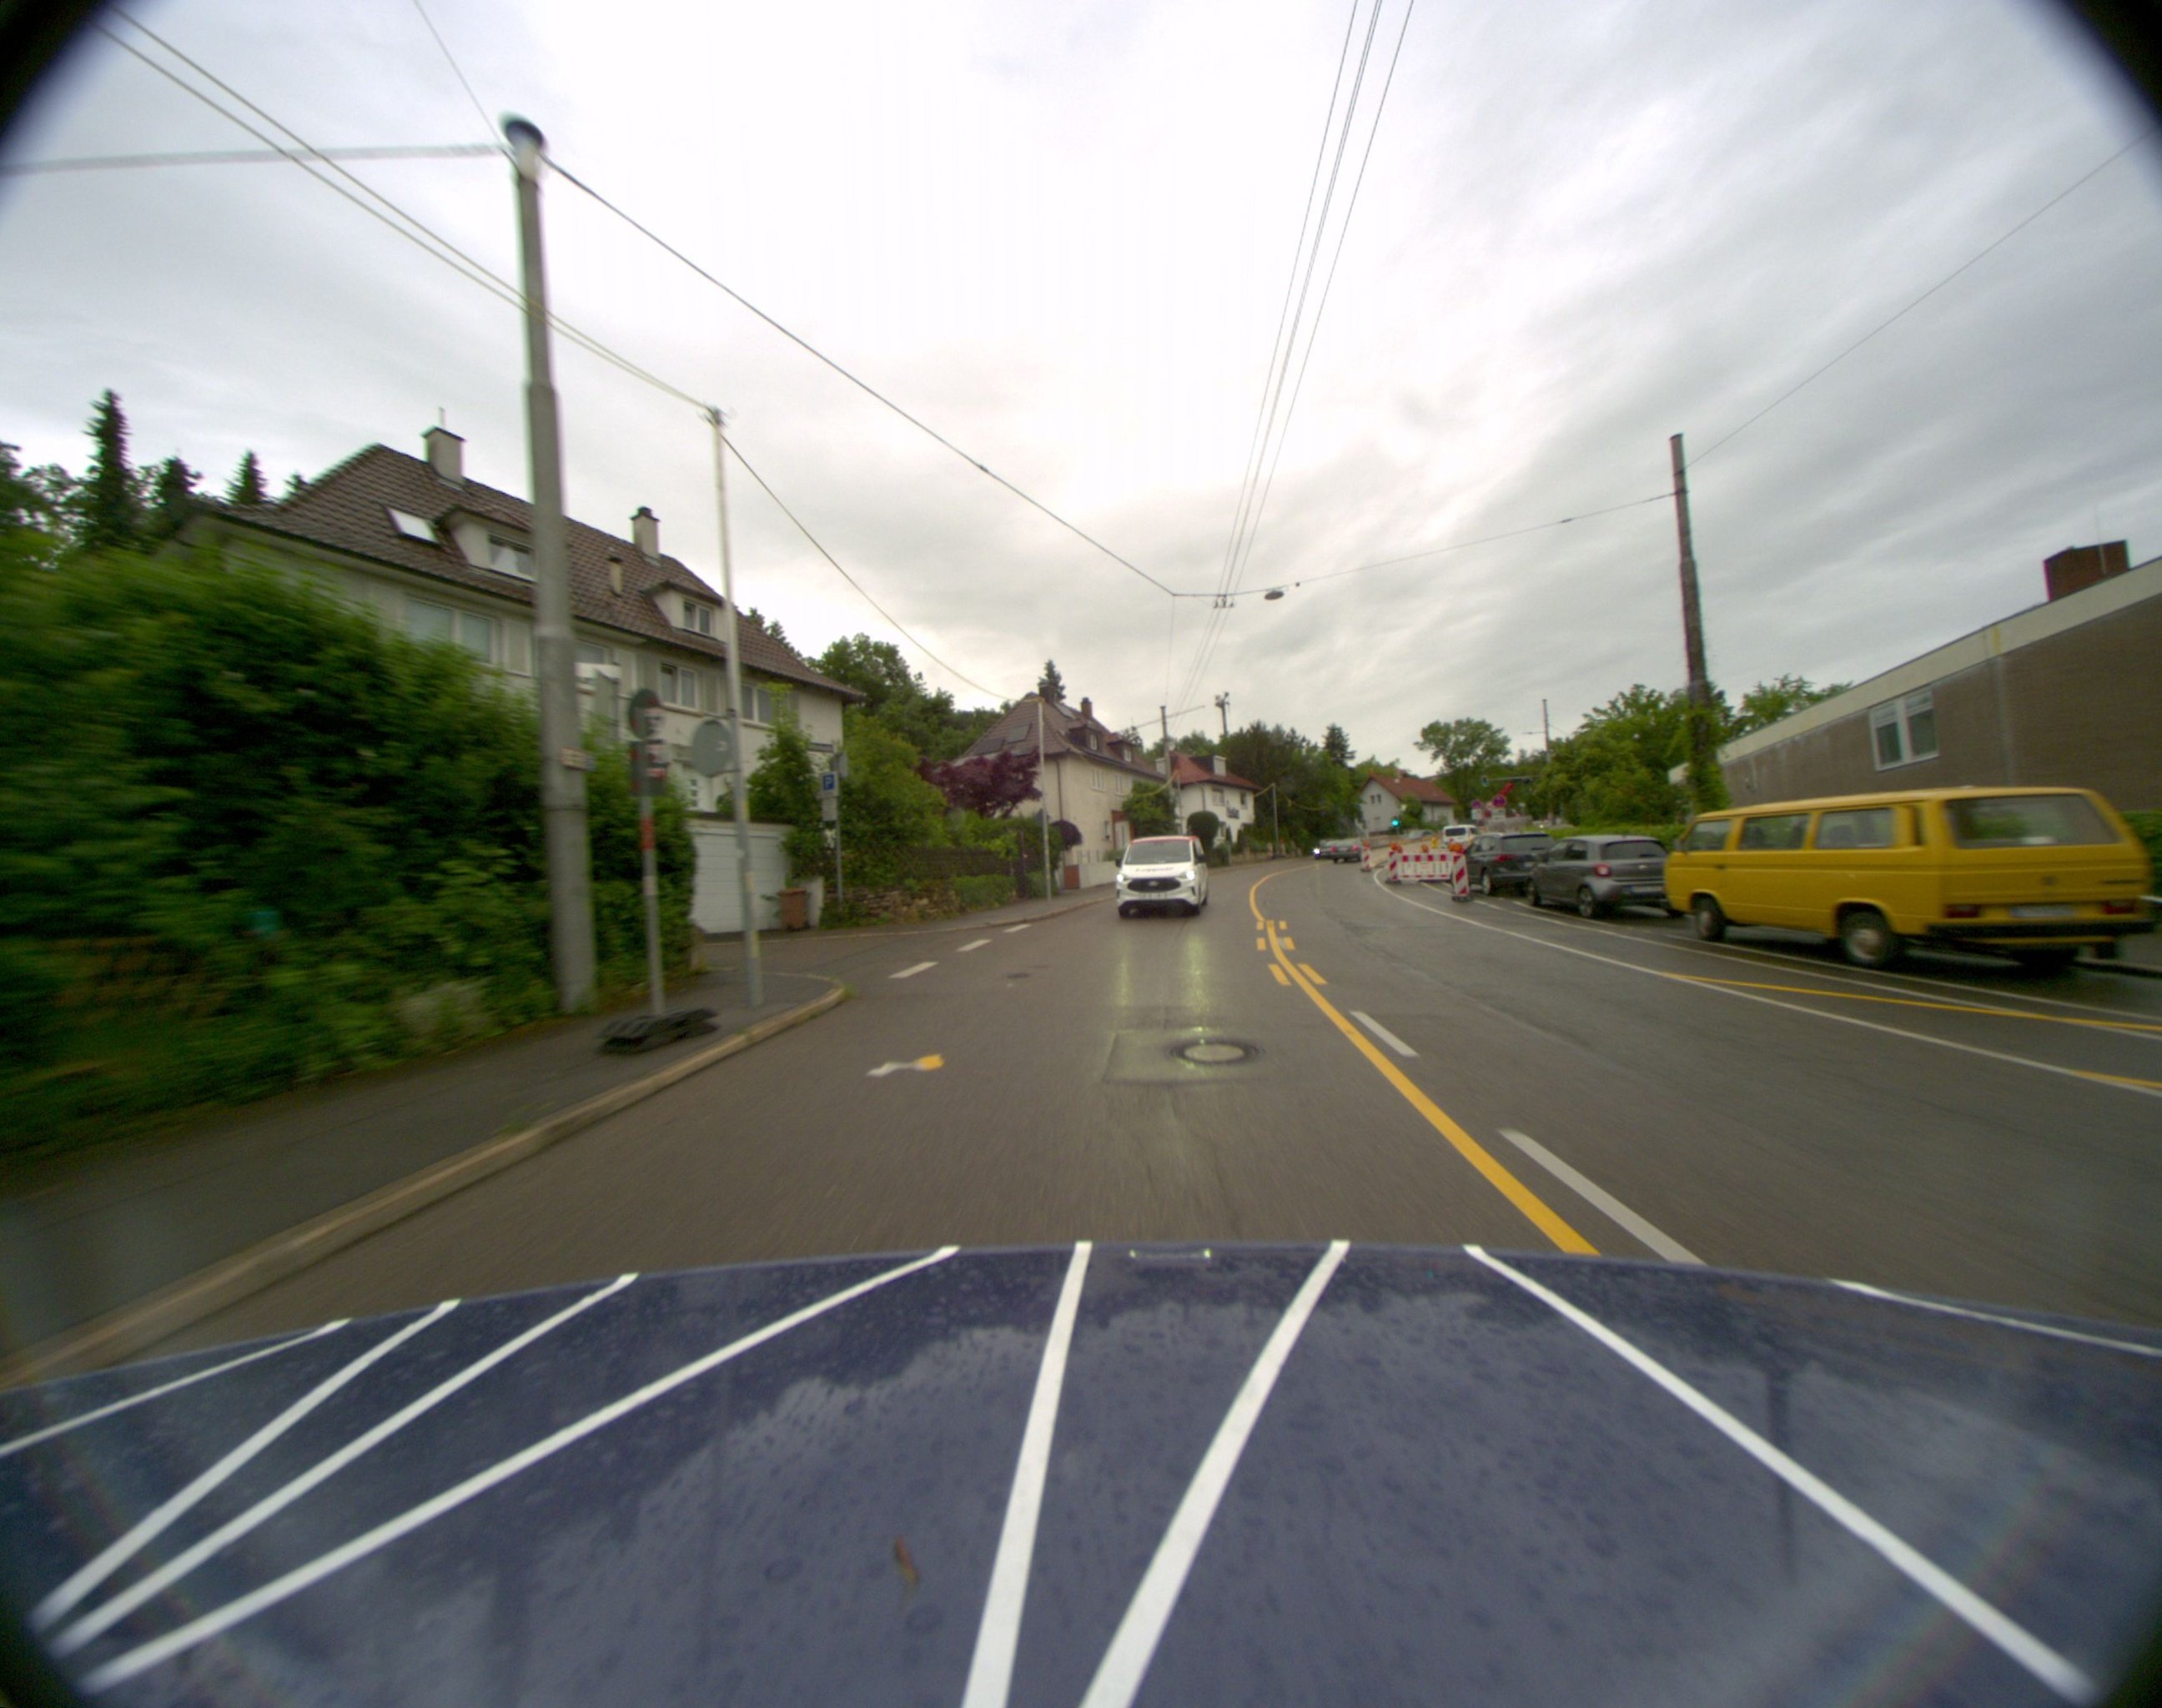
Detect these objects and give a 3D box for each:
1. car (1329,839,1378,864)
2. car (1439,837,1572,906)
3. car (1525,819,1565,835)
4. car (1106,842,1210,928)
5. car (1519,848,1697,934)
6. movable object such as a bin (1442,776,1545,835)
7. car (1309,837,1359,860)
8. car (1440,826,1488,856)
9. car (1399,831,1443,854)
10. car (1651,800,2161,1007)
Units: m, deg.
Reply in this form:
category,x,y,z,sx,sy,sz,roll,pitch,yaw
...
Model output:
category,x,y,z,sx,sy,sz,roll,pitch,yaw
car,18.031,-0.176,50.210,1.791,1.481,4.680,-3,-1,35
car,11.359,0.416,20.687,1.723,1.598,4.466,-3,0,10
car,50.579,-2.965,82.834,4.522,1.451,1.985,-5,1,-35
car,2.133,0.689,19.685,2.040,1.928,4.519,-2,1,13
car,10.295,0.644,15.146,1.577,1.445,3.467,-2,1,10
movable object such as a bin,51.362,-5.937,94.755,7.049,6.515,9.033,-4,1,-38
car,19.187,-0.452,57.476,1.985,1.428,4.523,-3,1,40
car,24.634,-0.852,48.781,1.806,1.790,4.471,-3,0,38
car,31.716,-1.080,70.842,4.006,1.928,2.011,-4,1,-37
car,9.448,0.472,9.413,1.806,1.916,4.580,-2,0,8
